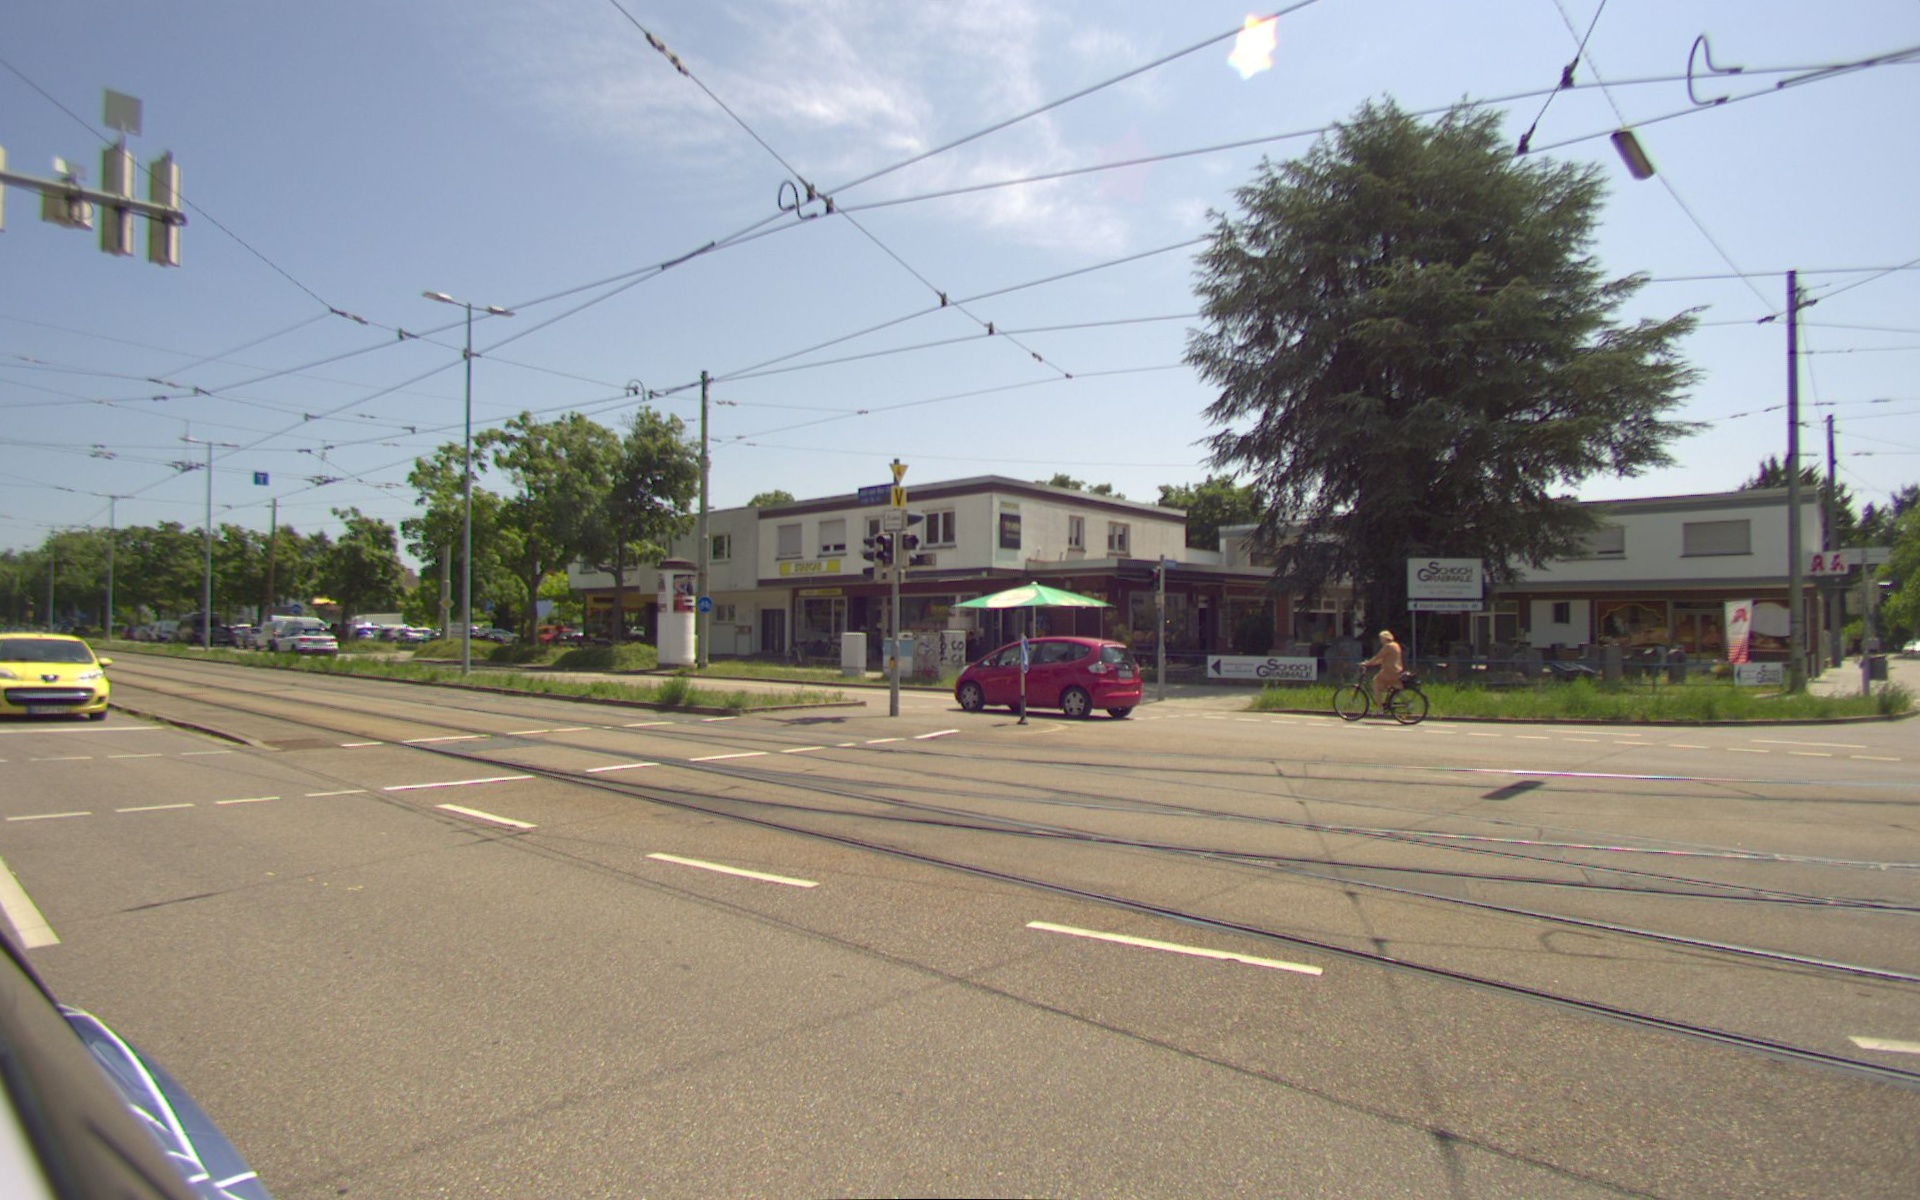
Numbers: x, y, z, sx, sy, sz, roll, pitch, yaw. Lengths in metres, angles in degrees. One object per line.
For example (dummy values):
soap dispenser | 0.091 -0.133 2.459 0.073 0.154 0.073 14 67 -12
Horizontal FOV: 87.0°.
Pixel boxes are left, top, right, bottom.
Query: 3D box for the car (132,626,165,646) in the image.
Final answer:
car | -75.917 3.356 94.688 4.201 1.807 1.659 -1 -3 42

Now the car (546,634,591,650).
car | -34.043 3.651 88.017 1.505 1.400 3.313 -1 -3 39

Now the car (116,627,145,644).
car | -83.977 3.608 102.436 3.822 1.716 1.659 -1 -3 42

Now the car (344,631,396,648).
car | -49.106 3.272 84.328 1.601 1.404 3.373 -1 -3 37

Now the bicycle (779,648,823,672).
bicycle | -6.249 2.339 39.783 1.958 0.854 0.595 -1 0 42

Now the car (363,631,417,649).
car | -45.352 3.156 80.573 1.601 1.404 3.373 -1 -3 37

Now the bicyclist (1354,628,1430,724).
bicyclist | 8.260 1.437 19.353 1.137 1.779 0.687 -3 -4 41

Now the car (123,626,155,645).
car | -79.369 3.435 97.803 4.201 1.807 1.659 -2 -3 42

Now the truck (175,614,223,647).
truck | -61.340 2.490 81.531 4.928 2.561 2.195 -1 -3 43

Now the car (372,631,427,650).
car | -43.236 3.141 78.102 1.601 1.404 3.373 -1 -3 37

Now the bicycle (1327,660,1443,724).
bicycle | 8.142 1.737 19.449 1.931 1.157 0.687 -3 -4 42

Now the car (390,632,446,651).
car | -41.189 3.149 77.004 1.601 1.404 3.373 -1 -3 37

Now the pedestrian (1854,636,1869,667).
pedestrian | 56.029 3.178 62.894 0.679 1.917 0.640 -2 -3 42

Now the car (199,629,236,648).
car | -56.781 2.964 77.374 3.670 1.397 1.652 -2 -3 44

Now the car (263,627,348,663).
car | -30.200 2.063 46.652 4.134 1.564 1.974 -1 -5 38

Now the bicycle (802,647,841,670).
bicycle | -5.561 2.330 40.612 1.787 0.854 0.522 -1 0 42

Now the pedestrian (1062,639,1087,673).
pedestrian | 3.847 1.877 33.963 0.674 1.136 0.511 -2 -3 42

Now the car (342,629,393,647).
car | -50.659 3.260 86.514 1.601 1.517 3.373 -1 -3 37

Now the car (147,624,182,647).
car | -71.438 3.167 90.822 4.508 1.989 1.659 -1 -3 42

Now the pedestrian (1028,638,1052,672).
pedestrian | 2.783 1.899 35.145 0.674 1.136 0.511 -2 -3 42

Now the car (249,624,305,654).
car | -44.710 2.528 66.238 4.661 1.898 1.972 -1 -3 43

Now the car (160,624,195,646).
car | -67.473 3.020 87.275 3.867 1.807 1.659 -1 -3 42

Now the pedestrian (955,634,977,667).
pedestrian | 0.227 1.921 38.515 0.674 1.218 0.511 -2 -3 42

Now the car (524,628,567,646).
car | -37.686 3.356 92.055 1.505 1.573 3.313 -1 -3 39

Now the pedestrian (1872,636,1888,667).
pedestrian | 56.637 3.170 62.331 0.679 1.917 0.640 -2 -3 42

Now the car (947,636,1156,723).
car | 1.715 1.456 19.595 3.826 1.495 1.607 -1 -3 40

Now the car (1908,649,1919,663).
car | 84.140 4.908 88.527 1.598 1.236 3.253 -2 -3 41

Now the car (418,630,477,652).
car | -37.493 3.002 74.106 1.791 1.502 3.373 -1 -3 37

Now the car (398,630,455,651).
car | -39.545 3.024 75.067 1.596 1.502 3.373 -1 -3 37

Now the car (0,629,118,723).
car | -15.661 1.266 17.094 3.654 1.432 1.599 -2 -6 42

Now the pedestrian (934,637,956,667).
pedestrian | -0.589 2.014 39.460 0.674 1.172 0.511 -2 -3 42

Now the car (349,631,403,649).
car | -47.304 3.211 81.998 1.601 1.404 3.373 -1 -3 37

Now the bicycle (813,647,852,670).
bicycle | -5.186 2.358 41.029 1.787 0.854 0.522 -1 0 42

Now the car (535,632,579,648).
car | -35.913 3.567 90.128 1.505 1.469 3.313 -1 -3 39

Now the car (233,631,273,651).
car | -49.335 2.856 70.610 3.569 1.397 1.652 -2 -3 44
